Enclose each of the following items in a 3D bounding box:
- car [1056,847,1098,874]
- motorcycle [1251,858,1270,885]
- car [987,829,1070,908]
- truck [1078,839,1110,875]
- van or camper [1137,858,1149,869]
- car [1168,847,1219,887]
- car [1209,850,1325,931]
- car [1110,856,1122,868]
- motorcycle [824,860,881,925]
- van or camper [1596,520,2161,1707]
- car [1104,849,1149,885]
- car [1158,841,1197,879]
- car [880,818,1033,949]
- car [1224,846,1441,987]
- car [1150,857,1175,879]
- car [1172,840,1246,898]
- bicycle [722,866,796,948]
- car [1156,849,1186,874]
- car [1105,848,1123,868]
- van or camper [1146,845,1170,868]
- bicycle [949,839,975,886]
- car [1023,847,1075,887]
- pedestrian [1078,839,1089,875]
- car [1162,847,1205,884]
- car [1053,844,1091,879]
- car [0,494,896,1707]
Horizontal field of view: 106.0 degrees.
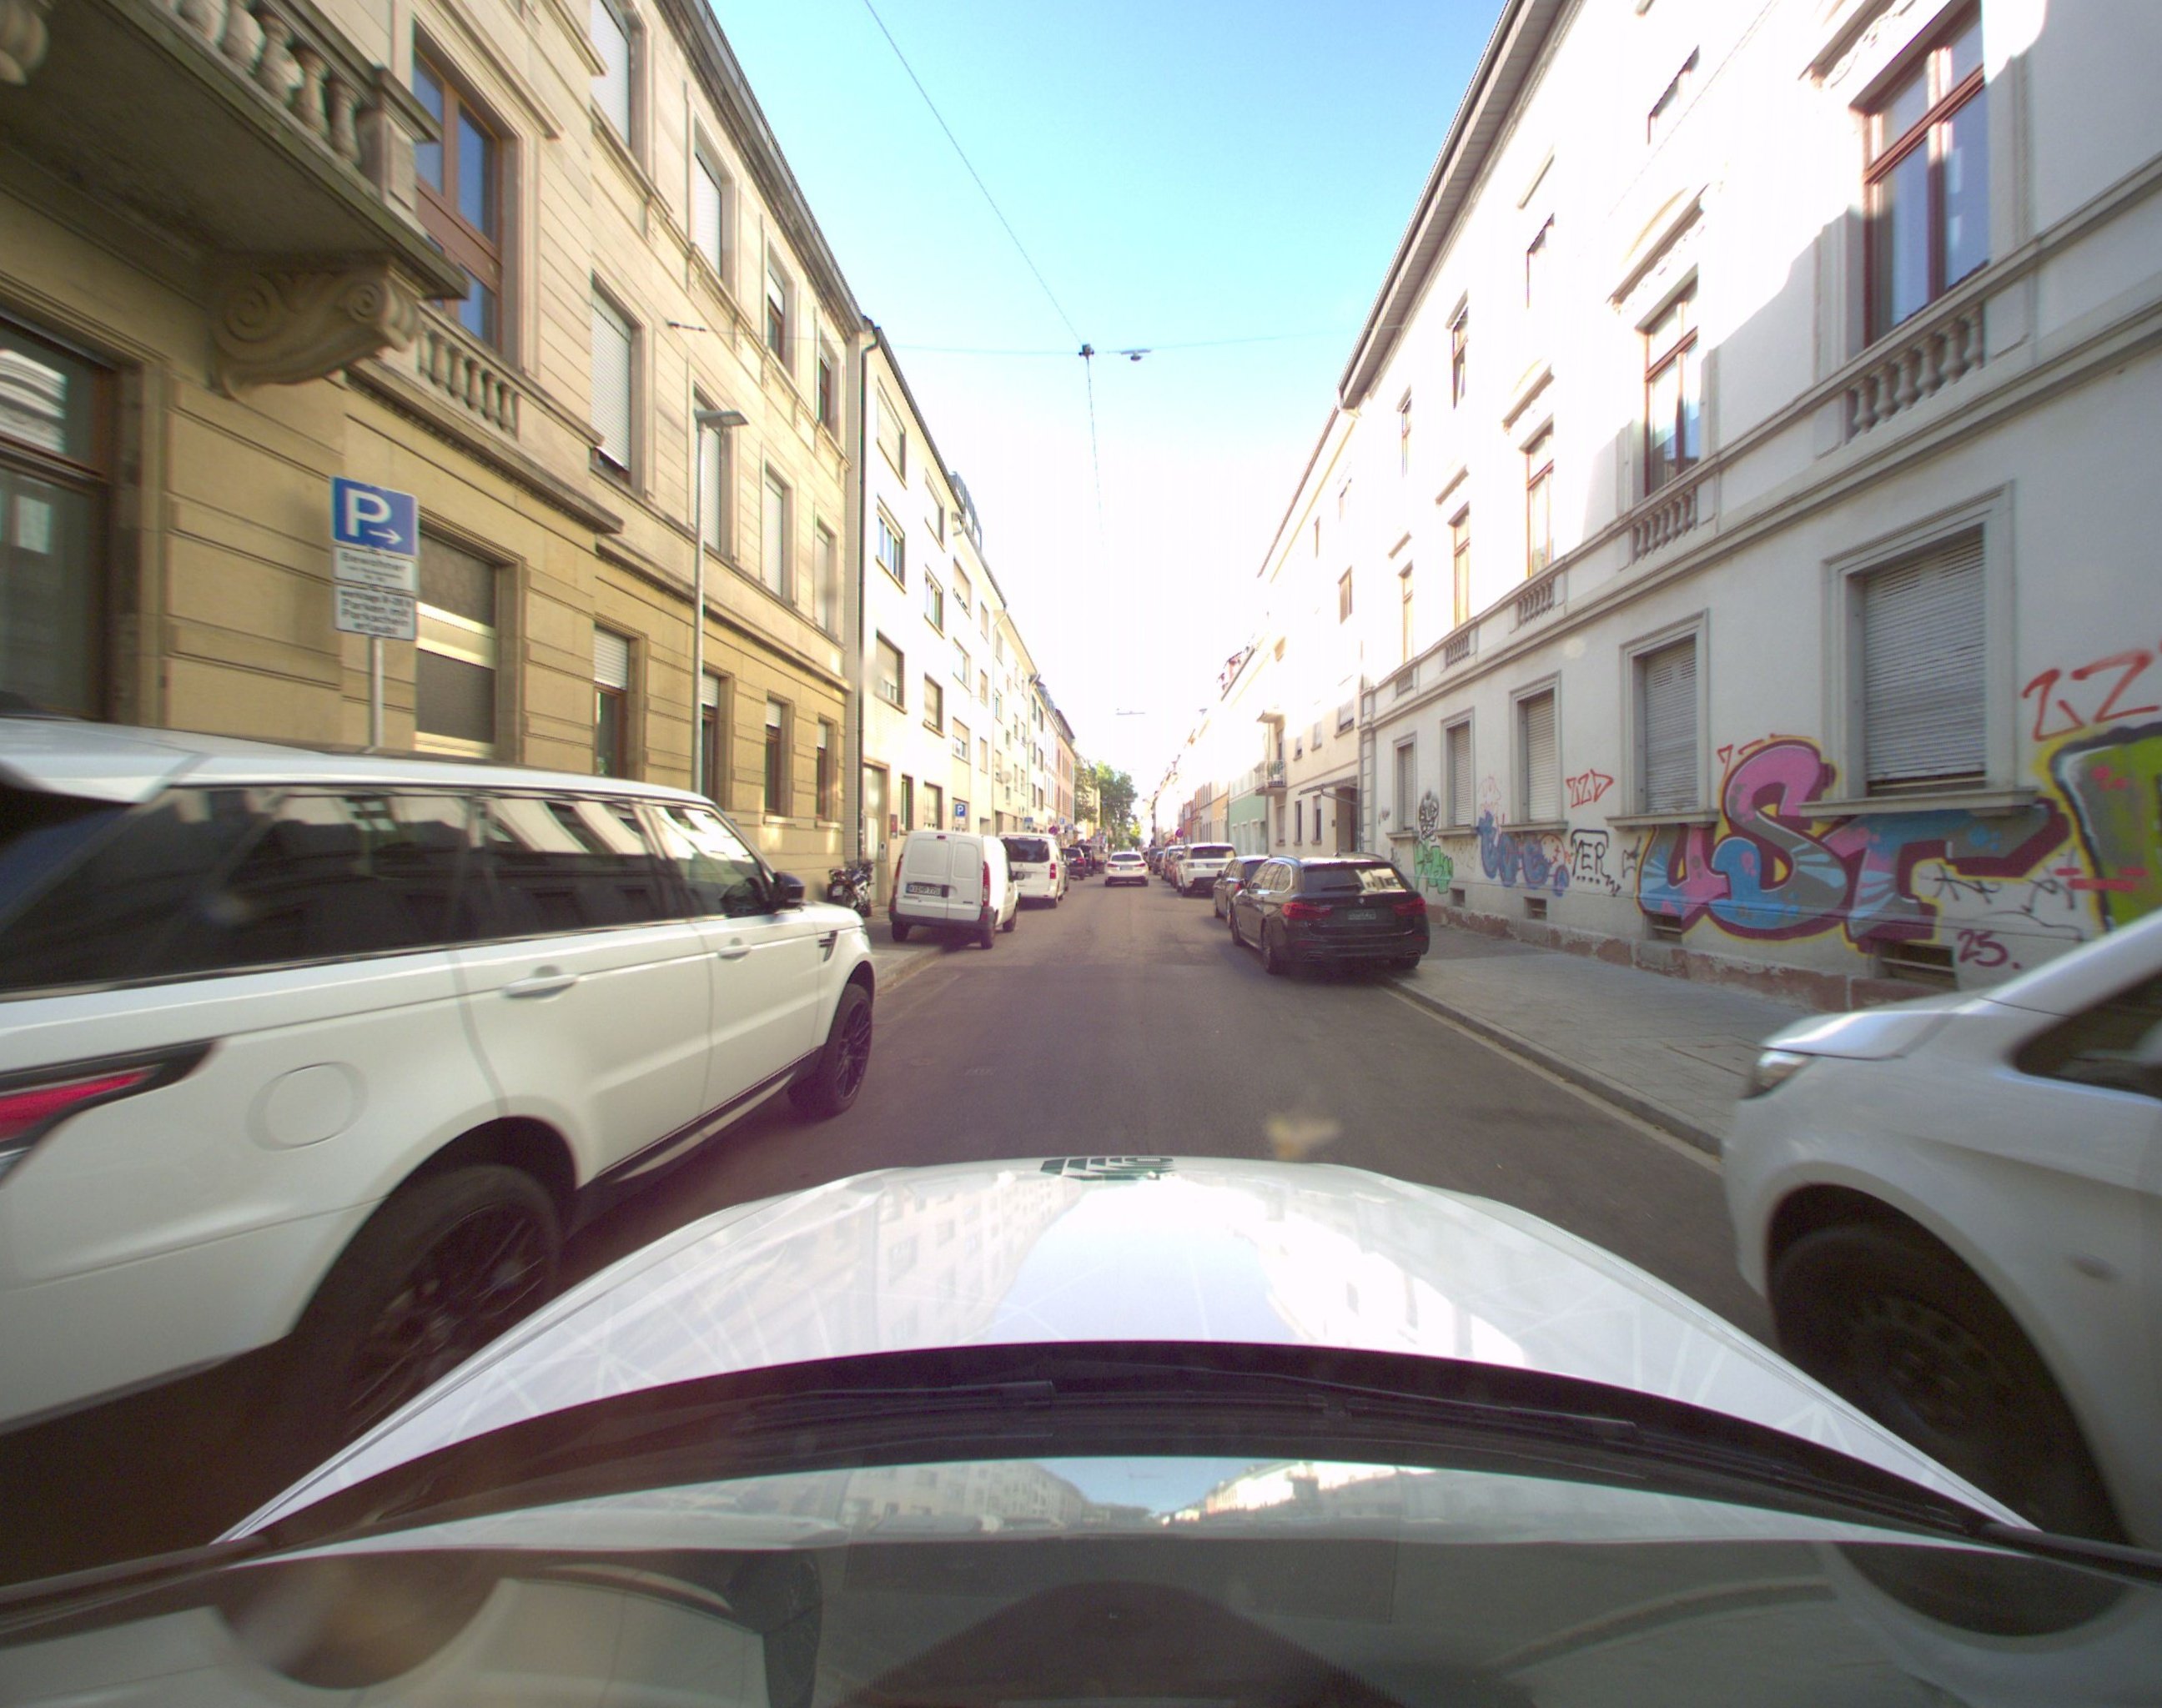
[{"bbox_3d":[-0.203,0.393,53.504,2.431,1.706,5.247,0,0,3],"label":"car"},{"bbox_3d":[7.174,0.691,32.529,0.478,1.046,1.693,0,0,3],"label":"motorcycle"},{"bbox_3d":[-1.387,0.351,23.293,1.887,1.958,4.783,2,1,1],"label":"car"},{"bbox_3d":[0.928,0.287,61.438,2.151,2.590,6.245,-1,-1,-1],"label":"truck"},{"bbox_3d":[10.336,1.616,136.315,1.985,1.926,4.003,-1,-1,4],"label":"van or camper"},{"bbox_3d":[4.615,0.505,33.870,1.735,1.568,4.035,0,1,3],"label":"car"},{"bbox_3d":[3.811,0.669,17.294,1.739,1.448,3.873,2,1,3],"label":"car"},{"bbox_3d":[4.849,1.082,113.420,1.618,1.597,3.584,1,0,4],"label":"car"},{"bbox_3d":[-4.511,0.727,16.218,0.431,1.185,2.123,0,0,3],"label":"motorcycle"},{"bbox_3d":[2.617,0.487,0.237,1.887,2.013,5.033,0,1,2],"label":"van or camper"},{"bbox_3d":[1.991,0.528,35.021,1.825,1.486,4.062,0,0,4],"label":"car"},{"bbox_3d":[5.082,0.313,43.396,1.775,1.961,4.338,0,0,2],"label":"car"},{"bbox_3d":[-2.010,0.425,14.349,1.737,1.876,4.093,4,1,3],"label":"car"},{"bbox_3d":[3.232,0.674,11.504,1.807,1.519,4.732,2,1,3],"label":"car"},{"bbox_3d":[6.087,1.039,61.141,1.735,1.568,4.035,0,1,3],"label":"car"},{"bbox_3d":[4.195,0.428,27.484,1.997,1.783,4.943,0,1,3],"label":"car"},{"bbox_3d":[-4.770,0.753,12.149,0.431,1.125,1.509,0,0,2],"label":"bicycle"},{"bbox_3d":[5.944,0.472,54.197,1.732,1.577,4.381,0,1,3],"label":"car"},{"bbox_3d":[3.096,0.336,76.875,1.641,1.867,4.000,0,0,1],"label":"car"},{"bbox_3d":[6.878,0.232,73.255,1.769,2.036,4.571,-2,0,1],"label":"van or camper"},{"bbox_3d":[-3.928,0.276,27.045,0.555,1.509,1.800,2,0,0],"label":"bicycle"},{"bbox_3d":[-1.204,0.476,32.121,1.700,1.450,4.304,1,0,2],"label":"car"},{"bbox_3d":[0.144,0.196,51.043,0.616,2.229,0.688,-1,-2,3],"label":"pedestrian"},{"bbox_3d":[4.789,0.507,38.373,1.575,1.632,3.682,1,0,1],"label":"car"},{"bbox_3d":[-0.479,0.380,44.819,1.873,1.755,4.542,3,1,0],"label":"car"},{"bbox_3d":[-2.399,0.500,3.284,2.013,2.013,4.547,0,0,3],"label":"car"}]
